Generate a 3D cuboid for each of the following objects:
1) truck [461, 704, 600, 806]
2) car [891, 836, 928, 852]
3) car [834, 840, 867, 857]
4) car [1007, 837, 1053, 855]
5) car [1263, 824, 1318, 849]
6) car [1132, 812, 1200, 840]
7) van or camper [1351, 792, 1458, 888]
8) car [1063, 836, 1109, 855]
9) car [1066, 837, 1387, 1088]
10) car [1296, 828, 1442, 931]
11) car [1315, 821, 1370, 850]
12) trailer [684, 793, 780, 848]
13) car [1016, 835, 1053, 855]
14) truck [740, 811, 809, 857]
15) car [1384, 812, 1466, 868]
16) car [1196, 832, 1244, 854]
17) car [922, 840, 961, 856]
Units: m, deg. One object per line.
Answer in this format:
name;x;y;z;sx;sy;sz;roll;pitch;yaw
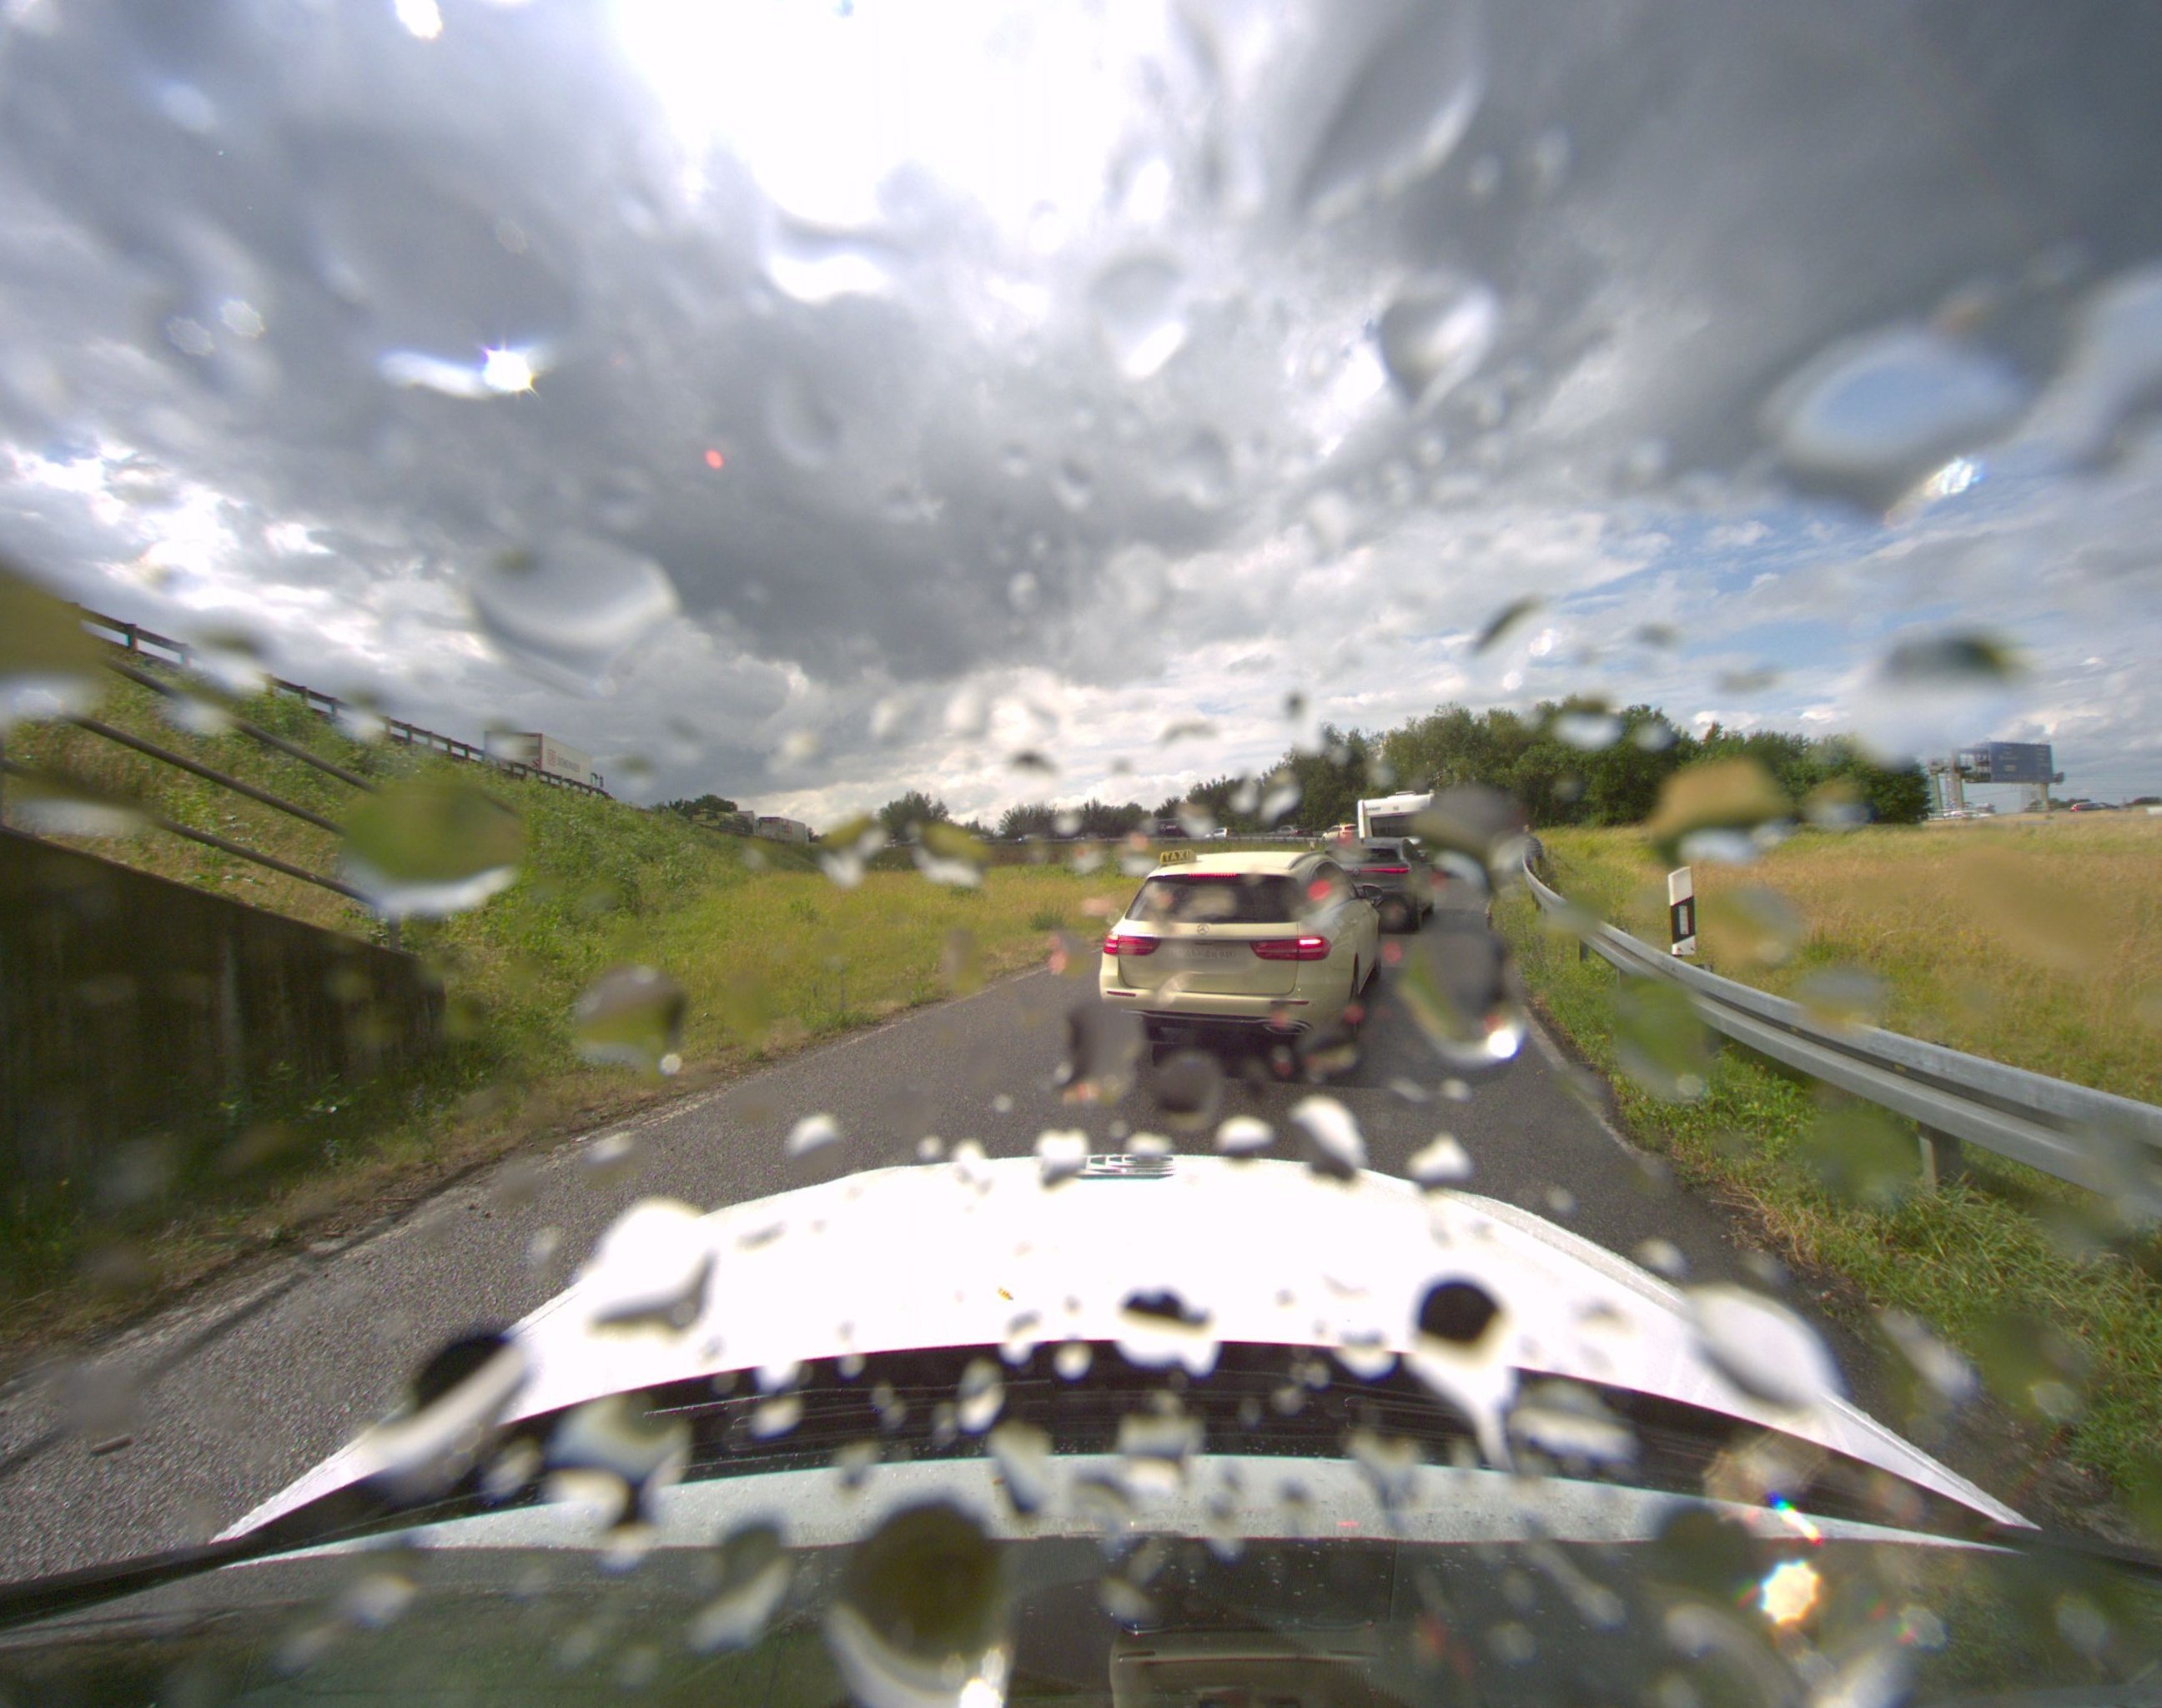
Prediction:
truck;-29.405;-5.070;44.092;3.185;3.967;9.191;-1;-3;-14
car;-23.691;-1.419;112.626;4.991;1.861;2.013;-4;-1;33
car;-29.746;-0.714;105.094;3.993;2.014;1.817;-1;-3;-15
car;-6.151;-0.962;98.283;4.995;1.861;2.011;-3;-1;24
car;18.272;-1.536;71.238;2.002;1.861;5.020;-3;-1;-22
car;9.085;-2.970;87.220;2.892;2.595;6.898;-3;1;-44
van or camper;10.819;-0.578;26.912;2.407;2.728;6.041;-2;4;29
car;0.570;-1.005;94.060;4.991;1.861;2.013;-4;-1;36
car;1.699;0.641;7.586;1.899;1.507;4.622;0;2;23
car;5.245;0.375;14.484;1.701;1.525;4.025;-4;0;29
car;19.663;-1.367;61.523;1.992;1.861;5.046;-4;0;-7
trailer;-36.627;-3.265;86.798;4.412;3.956;20.152;-2;-3;-9
car;-5.674;-1.116;98.543;3.948;2.014;2.012;-5;-5;31
truck;-39.537;-2.331;106.064;4.459;4.504;19.312;-2;-3;-9
car;13.648;-0.625;32.084;2.405;1.925;5.797;-2;2;28
car;13.815;-1.061;81.149;2.006;1.861;5.009;-3;-1;-29
car;-18.281;-0.764;106.725;4.461;1.861;2.009;-3;-1;16
